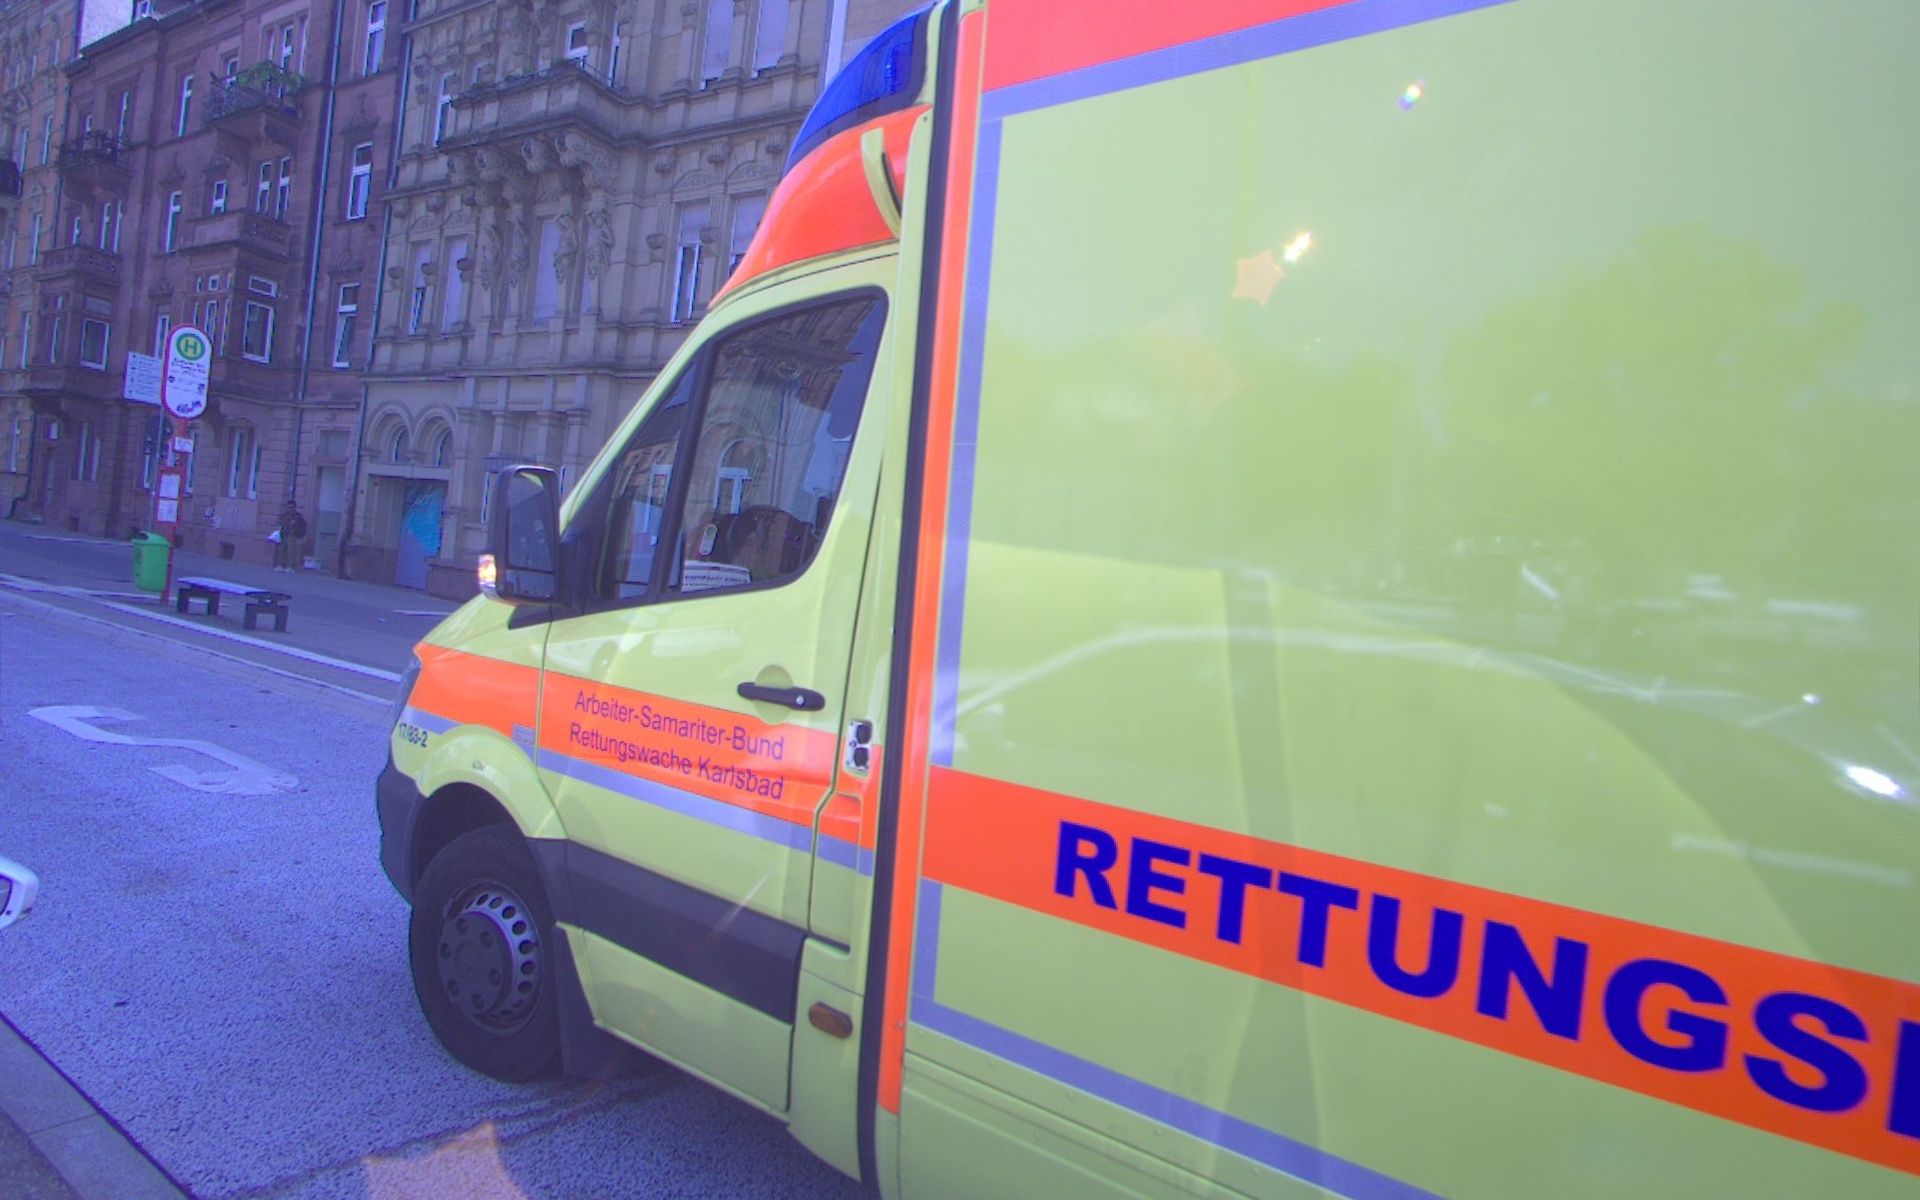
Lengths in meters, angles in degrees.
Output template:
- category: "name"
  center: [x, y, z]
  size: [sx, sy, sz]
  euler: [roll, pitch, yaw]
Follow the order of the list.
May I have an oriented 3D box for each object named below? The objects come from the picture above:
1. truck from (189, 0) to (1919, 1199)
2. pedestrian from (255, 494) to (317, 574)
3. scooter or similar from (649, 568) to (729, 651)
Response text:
- category: "truck"
  center: [0.850, 0.128, 2.327]
  size: [6.238, 2.807, 2.326]
  euler: [7, 3, 35]
- category: "pedestrian"
  center: [-16.455, -1.593, 24.583]
  size: [0.729, 1.800, 0.870]
  euler: [7, 1, 4]
- category: "scooter or similar"
  center: [-4.477, 0.153, 16.587]
  size: [1.122, 1.228, 0.476]
  euler: [7, 1, 27]
